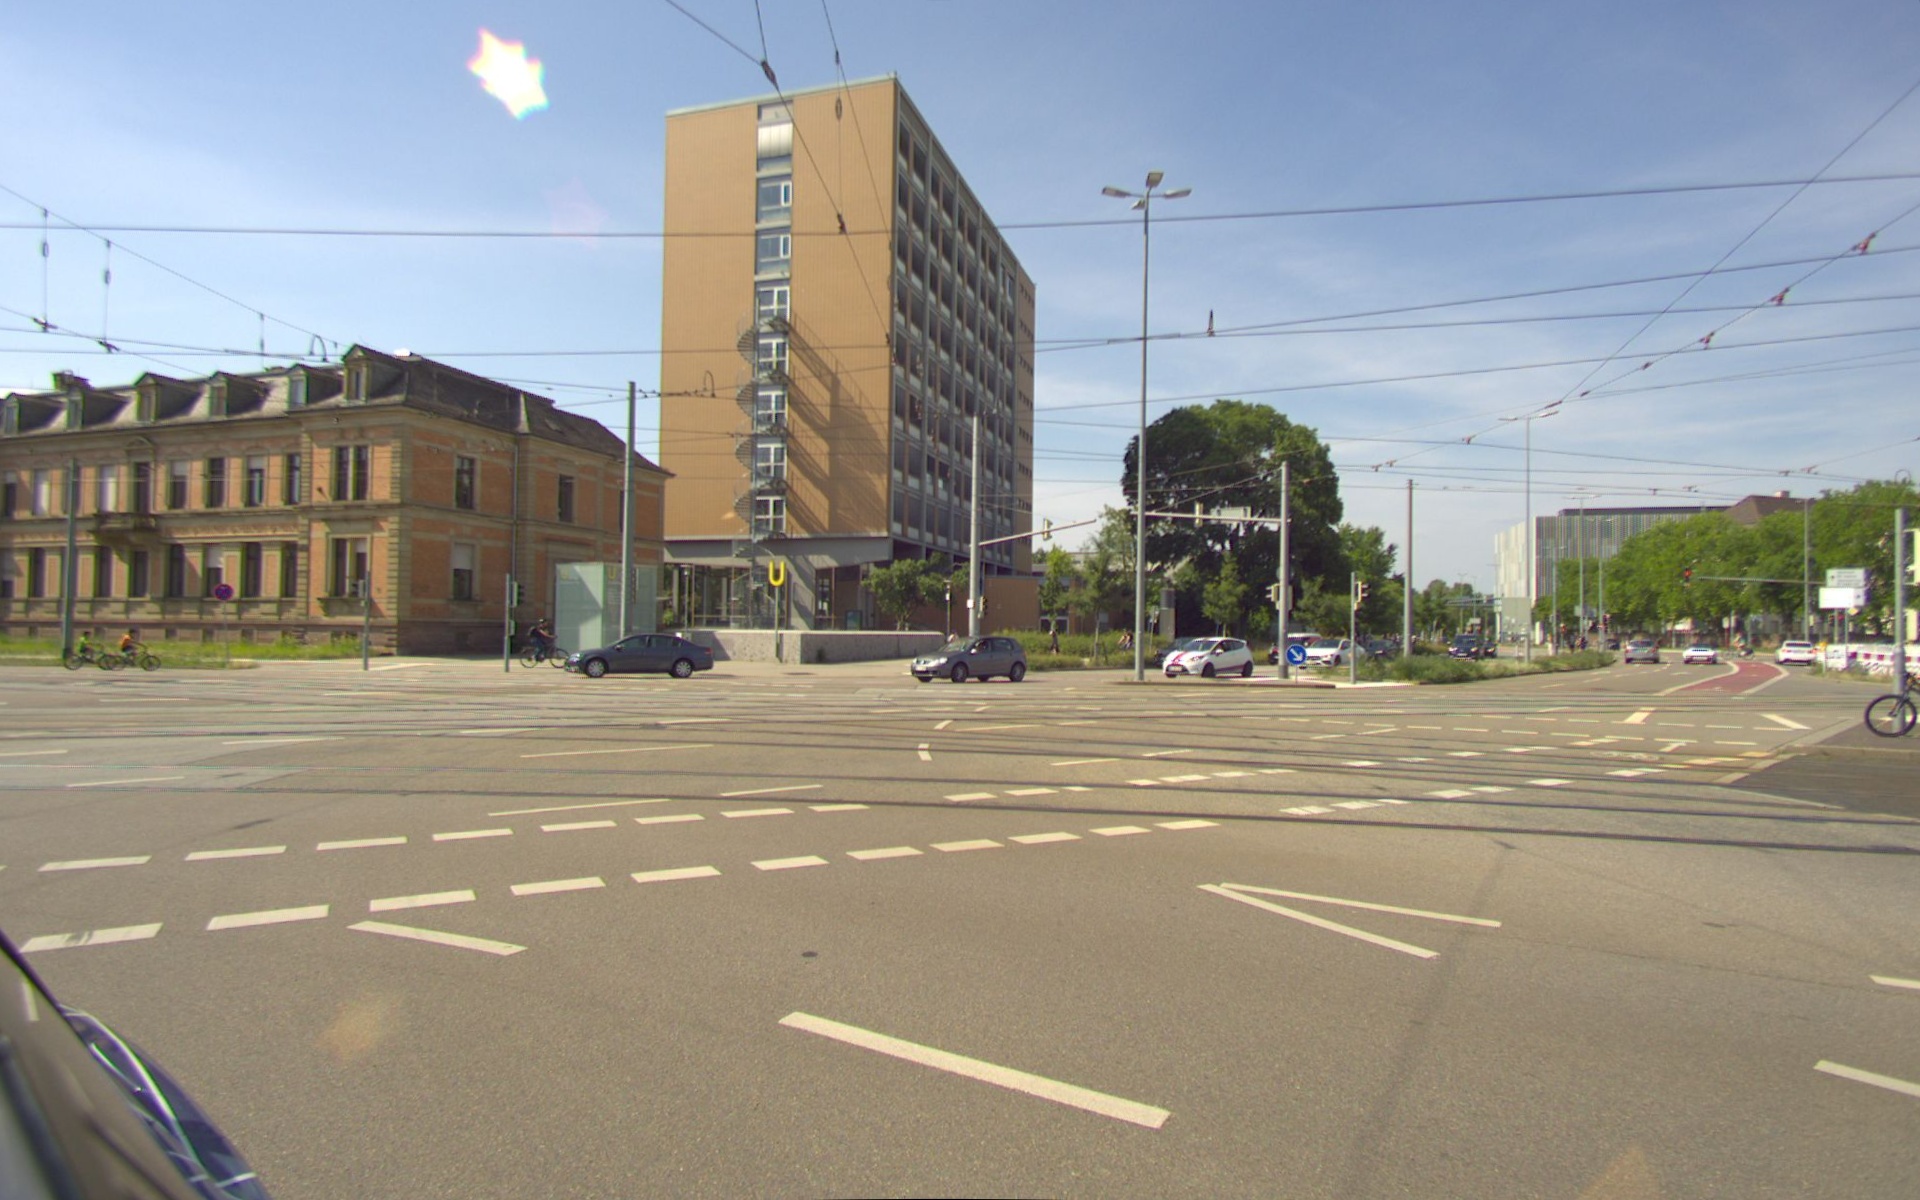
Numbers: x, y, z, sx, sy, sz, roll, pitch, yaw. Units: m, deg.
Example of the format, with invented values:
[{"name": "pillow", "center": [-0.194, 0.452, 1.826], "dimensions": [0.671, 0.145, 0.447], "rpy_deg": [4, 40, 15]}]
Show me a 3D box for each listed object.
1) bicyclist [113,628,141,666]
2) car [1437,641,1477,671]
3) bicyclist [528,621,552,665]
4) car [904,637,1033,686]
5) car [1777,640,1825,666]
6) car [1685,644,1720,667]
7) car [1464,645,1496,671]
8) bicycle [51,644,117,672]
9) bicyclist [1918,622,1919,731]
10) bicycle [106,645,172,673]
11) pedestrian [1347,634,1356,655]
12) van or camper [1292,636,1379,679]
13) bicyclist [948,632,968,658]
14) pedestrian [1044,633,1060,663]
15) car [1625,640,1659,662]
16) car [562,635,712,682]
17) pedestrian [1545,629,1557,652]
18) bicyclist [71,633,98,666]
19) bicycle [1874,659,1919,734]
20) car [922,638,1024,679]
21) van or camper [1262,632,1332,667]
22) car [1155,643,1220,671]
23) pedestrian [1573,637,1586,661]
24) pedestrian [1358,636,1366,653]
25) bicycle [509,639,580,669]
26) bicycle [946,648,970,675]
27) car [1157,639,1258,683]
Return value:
[{"name": "bicyclist", "center": [-26.561, 1.492, 32.277], "dimensions": [0.520, 1.206, 0.595], "rpy_deg": [-2, -4, 44]}, {"name": "car", "center": [31.594, 3.521, 64.288], "dimensions": [1.958, 1.807, 3.956], "rpy_deg": [-1, -2, 32]}, {"name": "bicyclist", "center": [-15.714, 1.602, 37.867], "dimensions": [0.769, 1.636, 0.671], "rpy_deg": [1, -1, -19]}, {"name": "car", "center": [0.313, 1.901, 31.822], "dimensions": [4.058, 1.435, 1.653], "rpy_deg": [3, -3, -44]}, {"name": "car", "center": [49.285, 3.105, 59.360], "dimensions": [1.800, 1.431, 3.951], "rpy_deg": [-4, -4, 36]}, {"name": "car", "center": [44.744, 3.307, 61.003], "dimensions": [1.596, 1.296, 3.951], "rpy_deg": [-4, -4, 36]}, {"name": "car", "center": [39.528, 4.362, 76.909], "dimensions": [1.992, 1.896, 4.385], "rpy_deg": [-1, -2, 29]}, {"name": "bicycle", "center": [-28.158, 1.864, 32.550], "dimensions": [1.563, 0.872, 0.502], "rpy_deg": [3, -5, -44]}, {"name": "bicyclist", "center": [15.107, 1.185, 15.321], "dimensions": [0.775, 1.697, 0.742], "rpy_deg": [1, -1, 37]}, {"name": "bicycle", "center": [-26.295, 1.893, 32.418], "dimensions": [0.520, 0.893, 1.552], "rpy_deg": [-1, -4, 44]}, {"name": "pedestrian", "center": [33.238, 3.784, 85.993], "dimensions": [0.640, 1.777, 0.471], "rpy_deg": [1, -1, 27]}, {"name": "van or camper", "center": [17.602, 2.643, 47.311], "dimensions": [4.849, 1.902, 1.922], "rpy_deg": [3, -3, -45]}, {"name": "bicyclist", "center": [-0.103, 1.915, 43.146], "dimensions": [0.705, 1.036, 0.918], "rpy_deg": [1, 0, -9]}, {"name": "pedestrian", "center": [5.266, 2.752, 58.022], "dimensions": [0.720, 1.676, 0.594], "rpy_deg": [2, -1, -43]}, {"name": "car", "center": [42.880, 3.218, 63.570], "dimensions": [1.596, 1.296, 3.951], "rpy_deg": [-4, -4, 36]}, {"name": "car", "center": [-10.520, 1.896, 33.015], "dimensions": [4.450, 1.446, 1.641], "rpy_deg": [2, -2, -25]}, {"name": "pedestrian", "center": [43.796, 3.016, 74.980], "dimensions": [0.740, 1.686, 0.542], "rpy_deg": [2, -3, -41]}, {"name": "bicyclist", "center": [-28.174, 1.585, 32.553], "dimensions": [0.596, 1.037, 0.502], "rpy_deg": [3, -5, -44]}, {"name": "bicycle", "center": [15.108, 1.498, 15.295], "dimensions": [1.846, 1.092, 0.742], "rpy_deg": [1, -1, 37]}, {"name": "car", "center": [0.528, 2.274, 39.709], "dimensions": [3.697, 1.486, 1.687], "rpy_deg": [1, -4, -34]}, {"name": "van or camper", "center": [19.105, 2.795, 57.245], "dimensions": [4.849, 1.902, 1.732], "rpy_deg": [3, -3, -44]}, {"name": "car", "center": [11.213, 2.789, 49.761], "dimensions": [3.527, 1.305, 1.411], "rpy_deg": [3, -3, -44]}, {"name": "pedestrian", "center": [45.313, 3.591, 74.057], "dimensions": [0.741, 1.686, 0.644], "rpy_deg": [2, -3, -43]}, {"name": "pedestrian", "center": [34.018, 3.758, 85.620], "dimensions": [0.640, 1.457, 0.564], "rpy_deg": [1, -1, 27]}, {"name": "bicycle", "center": [-15.556, 2.023, 37.952], "dimensions": [2.421, 1.077, 0.671], "rpy_deg": [1, -2, -19]}, {"name": "bicycle", "center": [-0.103, 2.615, 43.076], "dimensions": [0.705, 1.023, 1.922], "rpy_deg": [1, 0, -9]}, {"name": "car", "center": [8.710, 2.109, 35.507], "dimensions": [3.804, 1.425, 1.657], "rpy_deg": [2, -3, -43]}]
